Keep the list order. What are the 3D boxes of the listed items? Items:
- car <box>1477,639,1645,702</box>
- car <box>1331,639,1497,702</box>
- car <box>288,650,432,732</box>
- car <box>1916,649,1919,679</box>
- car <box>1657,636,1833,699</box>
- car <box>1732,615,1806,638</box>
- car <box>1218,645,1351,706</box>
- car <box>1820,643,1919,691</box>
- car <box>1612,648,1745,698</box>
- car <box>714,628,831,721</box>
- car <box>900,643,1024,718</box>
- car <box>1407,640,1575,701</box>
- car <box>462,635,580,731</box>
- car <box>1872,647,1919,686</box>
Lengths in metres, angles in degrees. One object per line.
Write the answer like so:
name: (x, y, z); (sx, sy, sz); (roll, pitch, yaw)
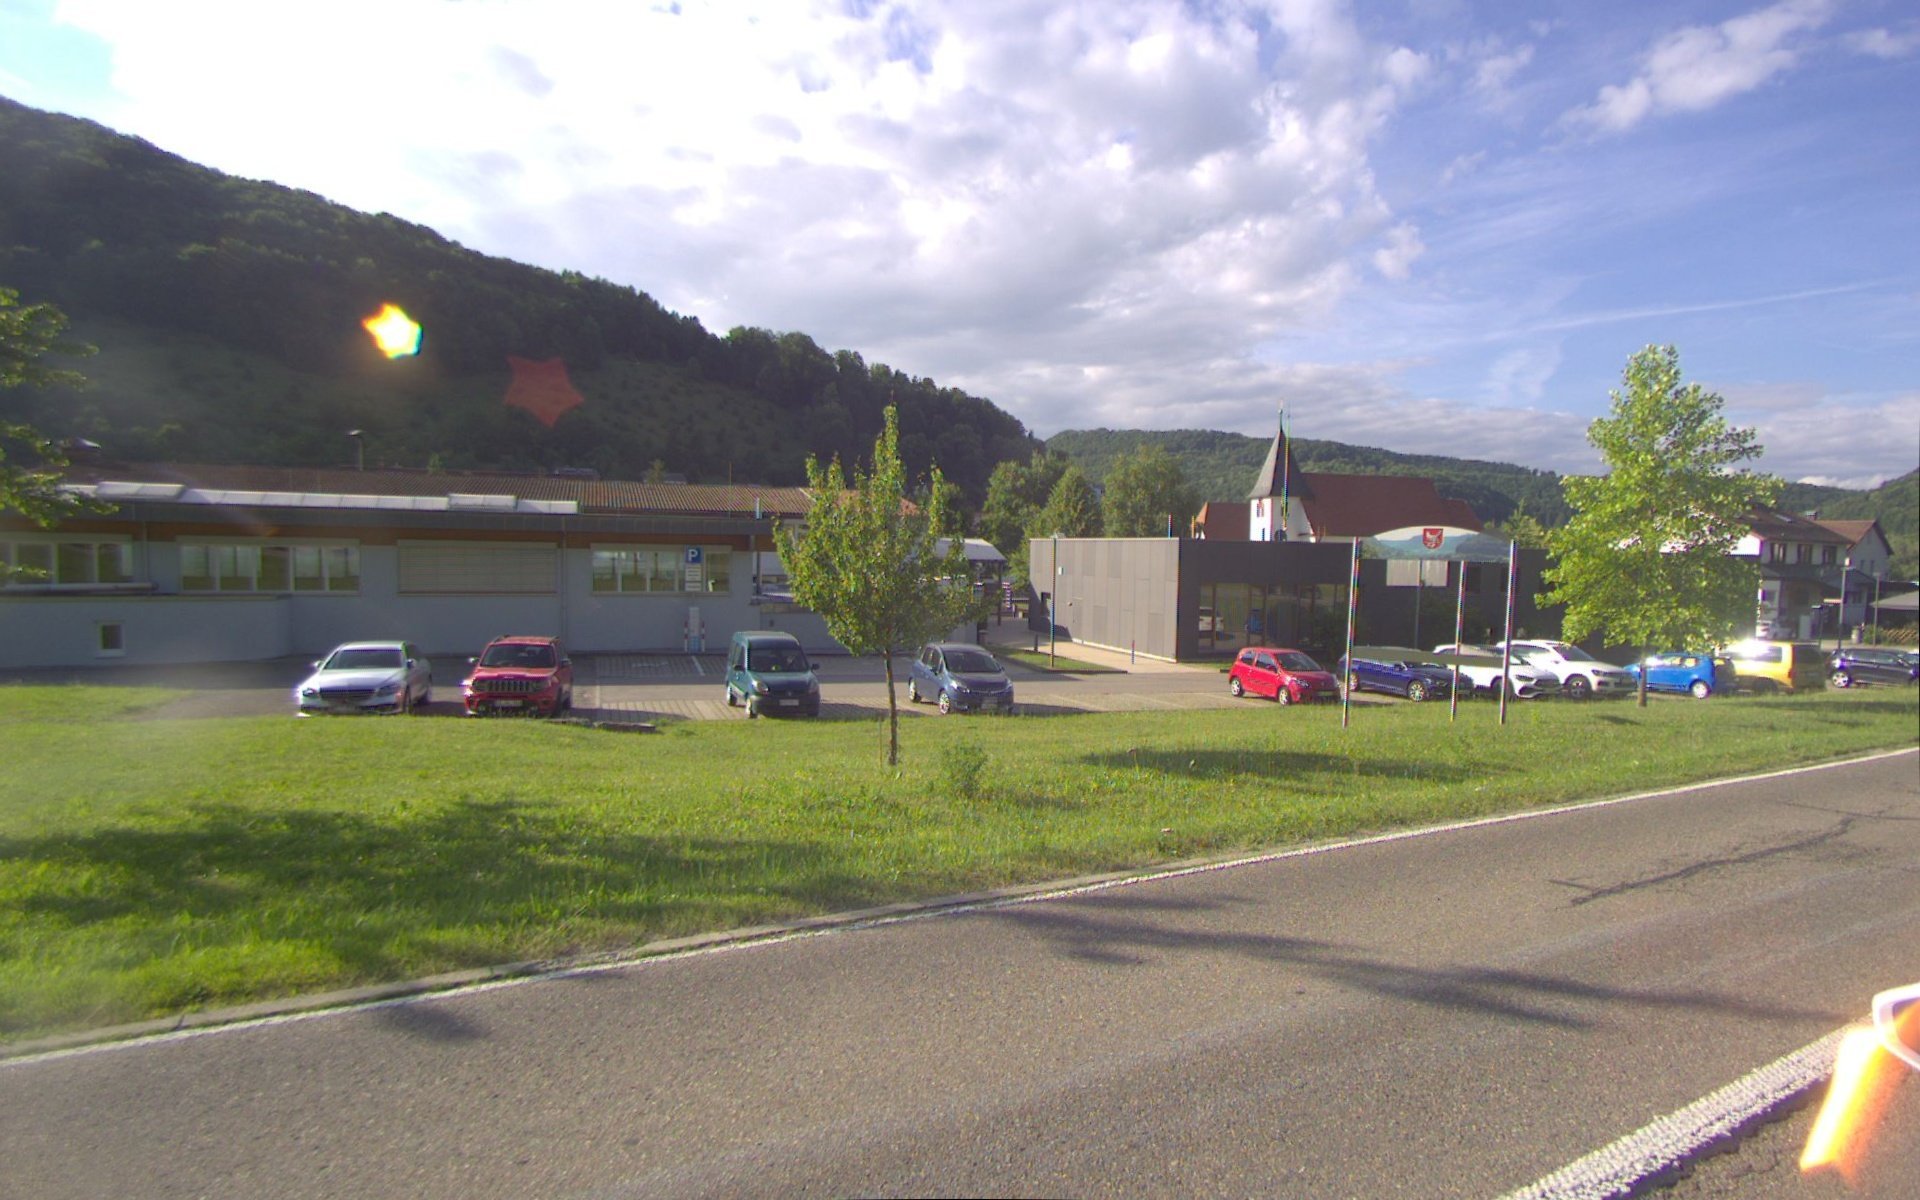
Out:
car: (19.798, 2.275, 33.345); (1.971, 1.725, 4.530); (2, 0, -21)
car: (13.752, 2.100, 30.735); (1.971, 1.575, 4.530); (2, 0, -21)
car: (-12.286, 1.817, 20.818); (1.825, 1.386, 3.881); (2, -1, -20)
car: (43.325, 2.836, 42.386); (1.737, 1.327, 3.974); (2, 0, -25)
car: (27.771, 2.348, 35.758); (1.968, 1.893, 4.607); (2, 0, -18)
car: (55.652, 1.815, 69.099); (3.928, 1.461, 1.767); (2, 0, -10)
car: (9.174, 2.105, 28.682); (1.592, 1.416, 3.714); (2, 0, -21)
car: (36.869, 2.631, 39.638); (1.971, 1.659, 4.017); (2, 0, -21)
car: (25.153, 2.518, 35.284); (1.610, 1.492, 3.485); (2, 0, -23)
car: (-4.582, 1.671, 23.966); (1.661, 1.817, 4.979); (2, 0, -23)
car: (-0.043, 1.918, 24.949); (1.661, 1.471, 3.998); (-1, 1, -23)
car: (16.753, 2.189, 31.986); (1.971, 1.575, 4.530); (2, 0, -21)
car: (-9.372, 1.710, 21.770); (1.818, 1.691, 4.319); (2, 0, -17)
car: (40.947, 2.836, 41.279); (1.853, 1.513, 4.805); (2, 0, -21)
